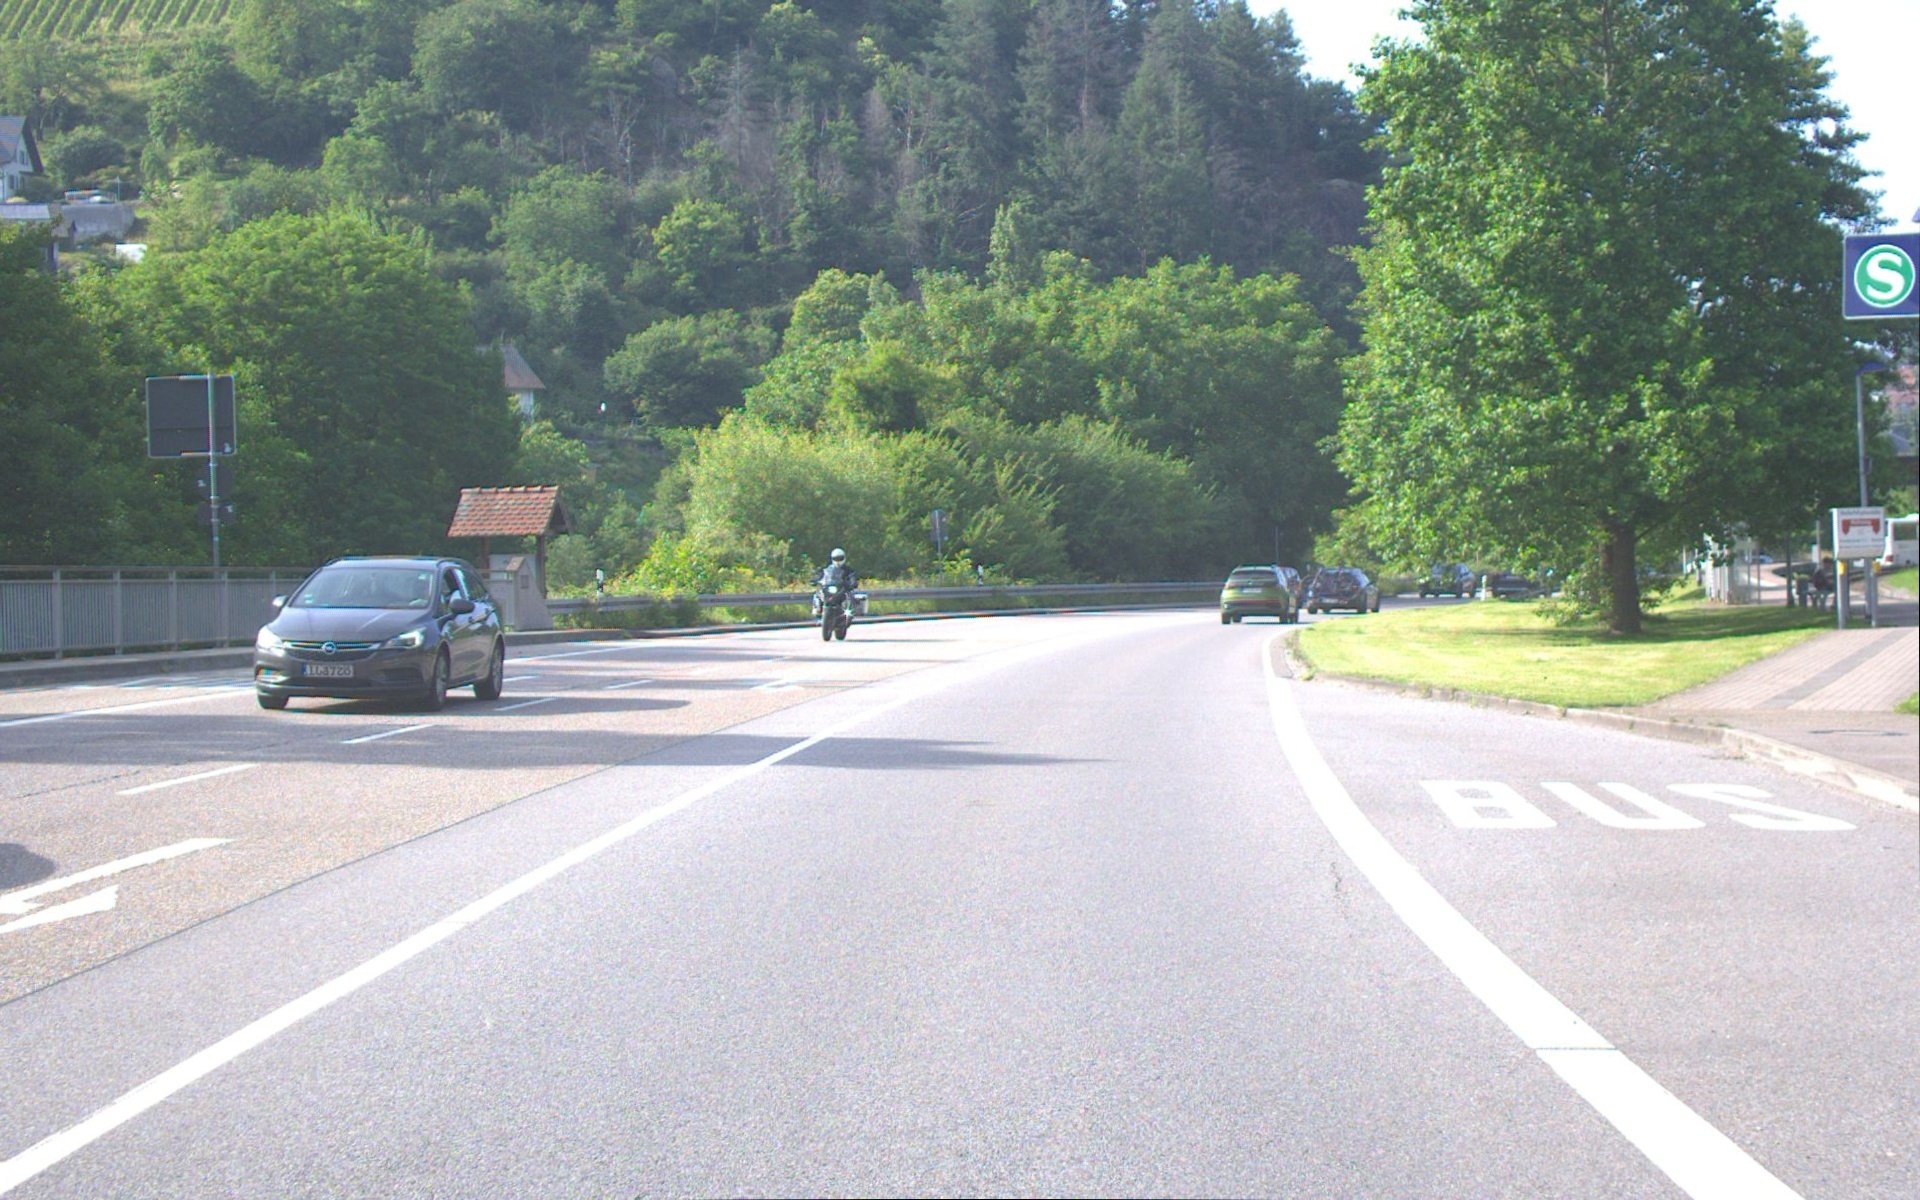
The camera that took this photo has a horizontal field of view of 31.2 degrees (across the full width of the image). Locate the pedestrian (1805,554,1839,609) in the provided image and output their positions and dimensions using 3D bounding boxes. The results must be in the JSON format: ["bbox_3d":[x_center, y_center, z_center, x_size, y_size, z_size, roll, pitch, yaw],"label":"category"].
[{"bbox_3d":[18.552,-0.393,73.988,0.636,1.157,0.726,-2,0,18],"label":"pedestrian"}]

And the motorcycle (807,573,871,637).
[{"bbox_3d":[-2.410,0.088,68.565,0.972,1.217,2.571,0,1,5],"label":"motorcycle"}]

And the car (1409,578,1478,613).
[{"bbox_3d":[21.060,-0.195,149.699,1.853,1.464,4.537,1,1,23],"label":"car"}]

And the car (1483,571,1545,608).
[{"bbox_3d":[22.985,-0.442,142.571,1.808,1.448,3.643,-2,0,21],"label":"car"}]

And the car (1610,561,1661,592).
[{"bbox_3d":[32.498,-1.138,165.330,1.810,1.403,3.769,-2,0,20],"label":"car"}]

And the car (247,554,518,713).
[{"bbox_3d":[-5.695,0.287,34.469,1.785,1.474,4.754,0,1,2],"label":"car"}]

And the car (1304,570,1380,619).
[{"bbox_3d":[12.056,-0.184,108.370,1.841,1.454,3.710,-2,0,14],"label":"car"}]

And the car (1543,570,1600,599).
[{"bbox_3d":[30.513,-0.775,171.437,1.696,1.397,4.196,0,1,26],"label":"car"}]

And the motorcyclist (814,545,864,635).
[{"bbox_3d":[-2.402,-0.206,68.631,0.845,1.778,1.171,0,1,6],"label":"motorcyclist"}]

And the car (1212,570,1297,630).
[{"bbox_3d":[7.697,-0.018,89.615,1.729,1.452,3.409,-2,0,12],"label":"car"}]

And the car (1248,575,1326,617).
[{"bbox_3d":[11.573,-0.161,121.426,1.677,1.455,4.197,0,1,21],"label":"car"}]
